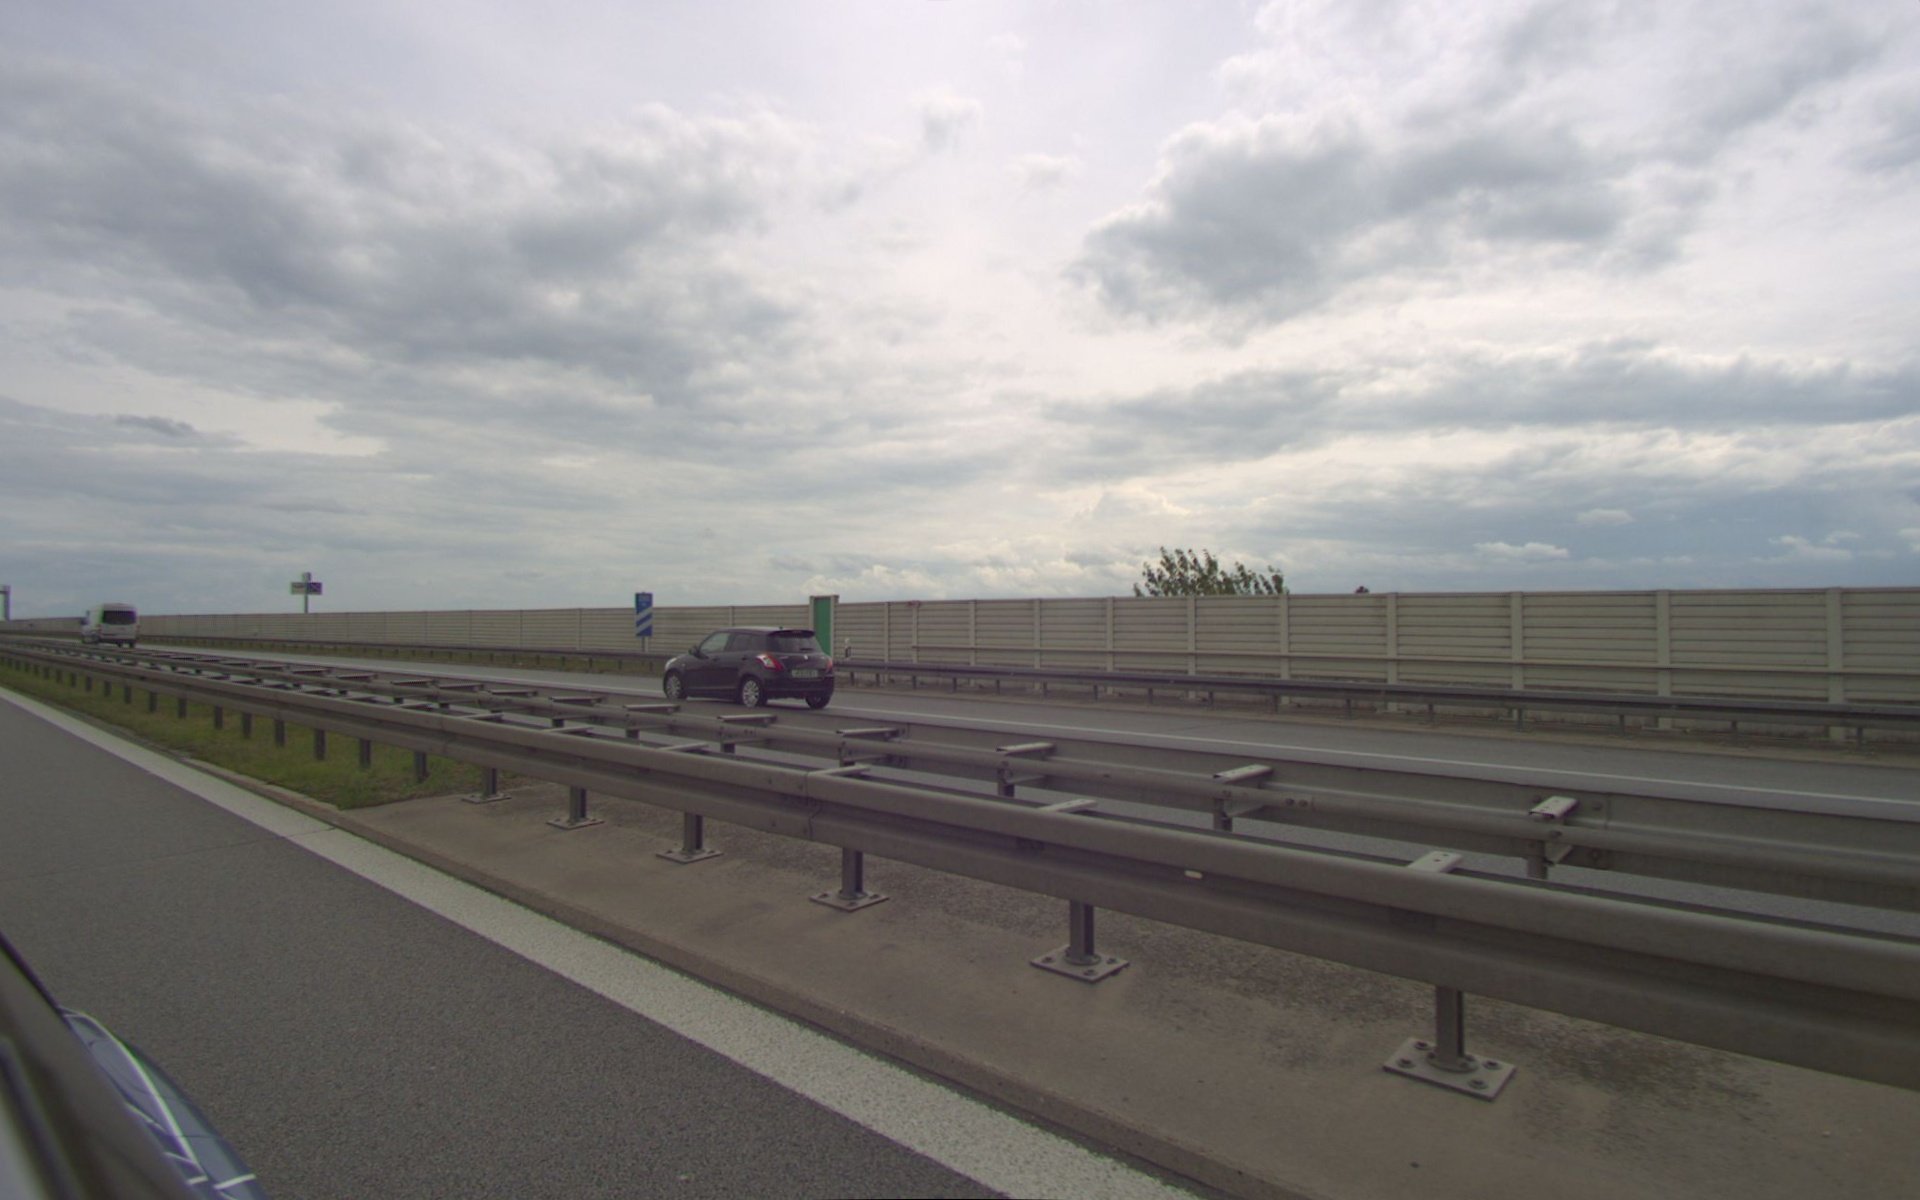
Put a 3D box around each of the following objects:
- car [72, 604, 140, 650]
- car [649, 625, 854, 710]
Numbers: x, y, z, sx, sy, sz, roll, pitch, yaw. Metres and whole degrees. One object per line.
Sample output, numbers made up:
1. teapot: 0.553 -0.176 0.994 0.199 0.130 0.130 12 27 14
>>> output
1. car: -51.373 1.622 60.831 6.287 2.623 2.048 -1 -4 42
2. car: -3.946 1.188 18.788 3.998 1.397 1.652 -1 -3 42
